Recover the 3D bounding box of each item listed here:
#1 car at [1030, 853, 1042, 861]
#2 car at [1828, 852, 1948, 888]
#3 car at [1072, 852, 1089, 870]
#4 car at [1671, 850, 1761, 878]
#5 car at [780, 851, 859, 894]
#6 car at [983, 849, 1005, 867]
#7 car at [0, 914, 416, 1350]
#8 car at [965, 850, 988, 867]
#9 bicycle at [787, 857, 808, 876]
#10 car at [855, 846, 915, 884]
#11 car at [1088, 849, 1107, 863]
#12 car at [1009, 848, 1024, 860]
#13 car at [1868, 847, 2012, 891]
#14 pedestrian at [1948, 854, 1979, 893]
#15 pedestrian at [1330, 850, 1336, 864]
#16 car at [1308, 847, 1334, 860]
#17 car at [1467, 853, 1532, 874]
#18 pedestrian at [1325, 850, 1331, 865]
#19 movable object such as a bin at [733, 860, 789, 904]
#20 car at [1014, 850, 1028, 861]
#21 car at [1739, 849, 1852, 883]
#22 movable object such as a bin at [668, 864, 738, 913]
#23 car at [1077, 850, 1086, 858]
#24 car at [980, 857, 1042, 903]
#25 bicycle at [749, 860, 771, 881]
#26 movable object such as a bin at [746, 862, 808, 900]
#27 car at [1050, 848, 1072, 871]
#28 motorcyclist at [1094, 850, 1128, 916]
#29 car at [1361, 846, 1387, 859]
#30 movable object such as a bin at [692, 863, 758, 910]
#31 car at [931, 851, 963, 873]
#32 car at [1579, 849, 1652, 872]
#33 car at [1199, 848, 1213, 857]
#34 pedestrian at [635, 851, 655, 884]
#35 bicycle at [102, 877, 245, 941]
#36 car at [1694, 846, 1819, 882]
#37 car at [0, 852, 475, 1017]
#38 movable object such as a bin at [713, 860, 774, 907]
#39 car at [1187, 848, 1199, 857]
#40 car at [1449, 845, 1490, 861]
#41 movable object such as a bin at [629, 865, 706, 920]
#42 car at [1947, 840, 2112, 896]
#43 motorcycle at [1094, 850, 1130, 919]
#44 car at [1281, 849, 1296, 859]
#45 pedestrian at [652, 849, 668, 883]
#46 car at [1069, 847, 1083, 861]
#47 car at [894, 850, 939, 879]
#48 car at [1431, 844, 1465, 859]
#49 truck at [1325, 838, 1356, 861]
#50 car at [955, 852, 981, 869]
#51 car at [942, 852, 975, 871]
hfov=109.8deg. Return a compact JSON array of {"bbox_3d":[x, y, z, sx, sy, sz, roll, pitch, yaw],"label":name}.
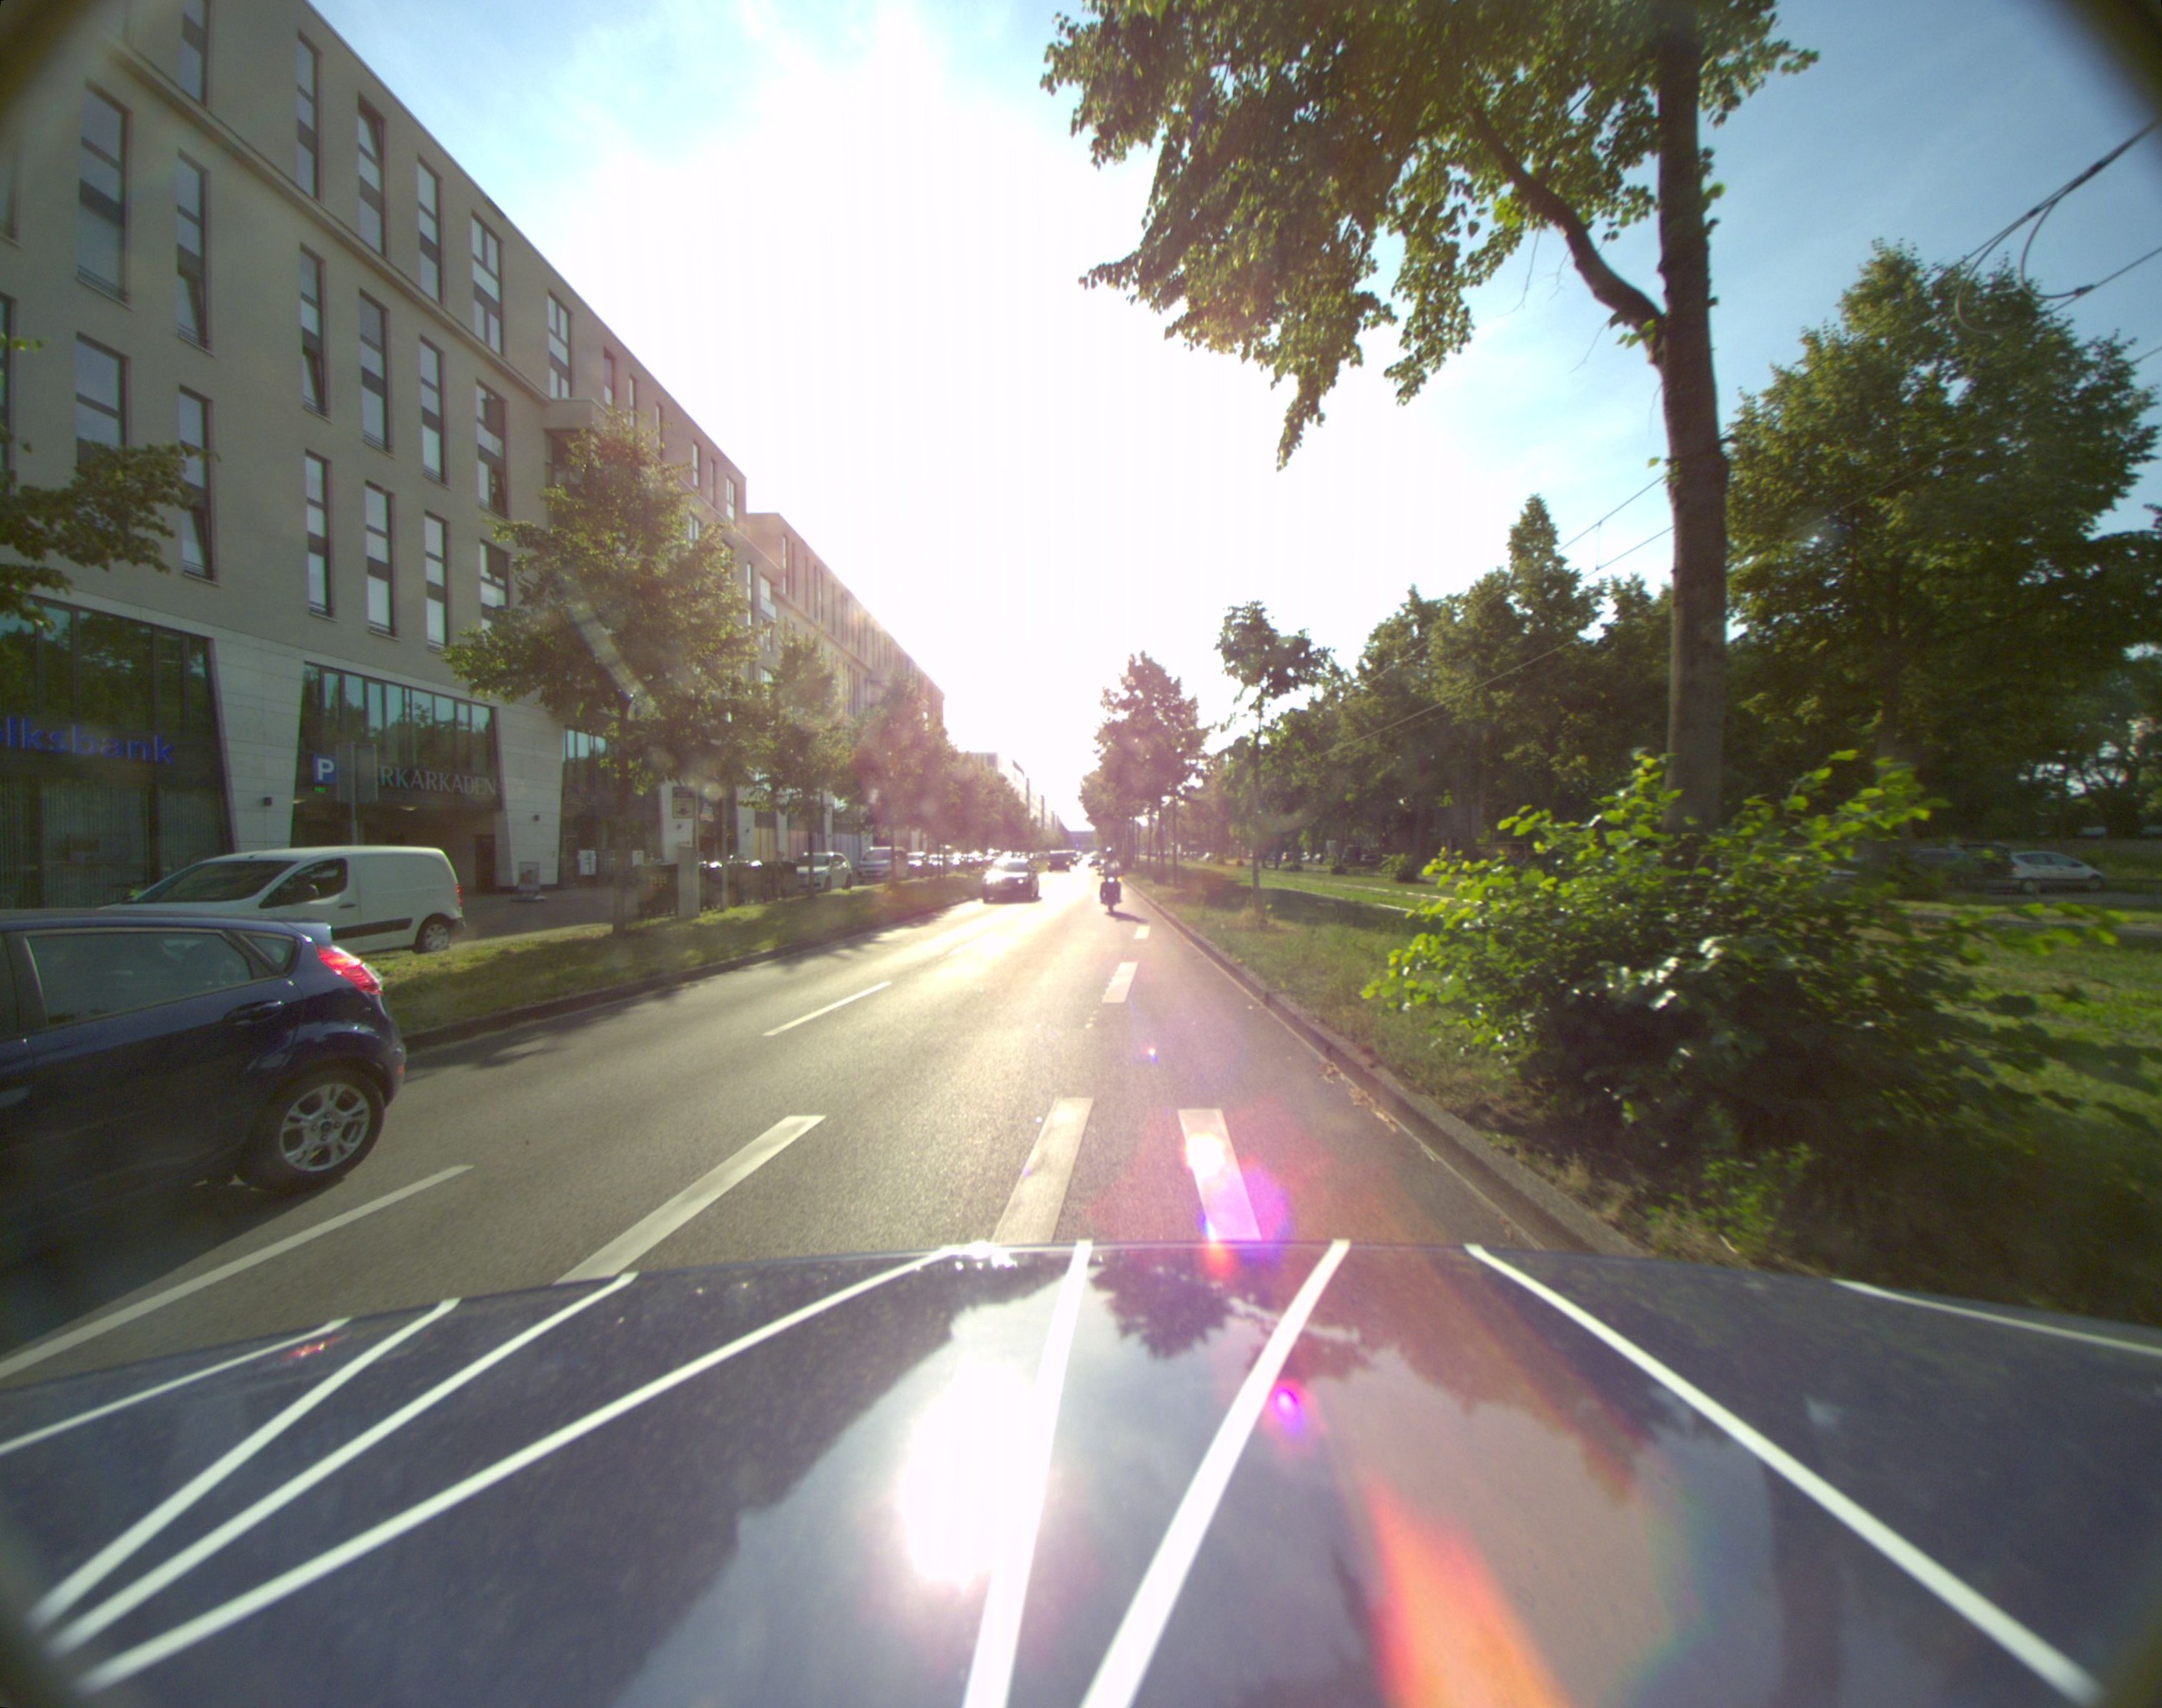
[{"bbox_3d":[-8.850,0.549,149.963,1.840,1.521,4.327,-2,1,1],"label":"car"},{"bbox_3d":[36.826,0.706,34.727,3.576,1.417,1.726,-2,1,2],"label":"car"},{"bbox_3d":[-0.016,0.794,93.371,1.909,2.002,3.999,-2,1,1],"label":"car"},{"bbox_3d":[37.049,0.560,44.412,3.655,1.420,1.809,-2,1,3],"label":"car"},{"bbox_3d":[-10.797,0.706,31.699,1.735,1.620,4.849,0,0,-2],"label":"car"},{"bbox_3d":[-10.026,0.451,88.172,1.899,1.863,4.843,-2,1,0],"label":"car"},{"bbox_3d":[-4.686,1.093,2.346,1.563,1.416,3.908,-2,1,5],"label":"car"},{"bbox_3d":[-10.438,0.413,76.232,1.873,1.483,4.412,-2,1,-4],"label":"car"},{"bbox_3d":[-17.680,0.781,47.434,0.420,1.093,2.108,3,1,1],"label":"bicycle"},{"bbox_3d":[-10.660,0.523,41.719,1.842,1.865,5.031,-2,1,1],"label":"car"},{"bbox_3d":[1.741,0.199,81.651,1.756,1.427,4.034,-2,1,-2],"label":"car"},{"bbox_3d":[-9.439,0.025,111.588,1.764,1.589,4.327,-2,1,1],"label":"car"},{"bbox_3d":[36.095,0.604,32.017,4.002,1.633,1.757,-2,1,2],"label":"car"},{"bbox_3d":[34.122,0.759,29.369,0.523,1.472,0.568,-2,1,0],"label":"pedestrian"},{"bbox_3d":[26.467,0.307,79.846,0.387,1.467,0.602,-2,1,0],"label":"pedestrian"},{"bbox_3d":[28.730,-0.086,90.949,1.835,1.423,4.474,-2,1,2],"label":"car"},{"bbox_3d":[30.775,0.687,56.022,1.689,1.427,4.027,-3,1,-22],"label":"car"},{"bbox_3d":[25.938,0.358,79.870,0.387,1.467,0.602,-2,1,0],"label":"pedestrian"},{"bbox_3d":[-10.380,0.890,24.705,1.281,1.294,1.191,-2,1,-2],"label":"movable object such as a bin"},{"bbox_3d":[-9.584,0.197,122.002,1.840,1.521,4.327,-2,1,1],"label":"car"},{"bbox_3d":[36.902,0.618,39.328,3.996,1.551,1.856,-2,1,3],"label":"car"},{"bbox_3d":[-10.256,0.917,20.686,1.281,1.229,1.191,-2,1,-2],"label":"movable object such as a bin"},{"bbox_3d":[0.079,-0.053,159.861,1.840,1.521,4.327,-2,1,1],"label":"car"},{"bbox_3d":[-2.531,0.906,28.309,1.698,1.416,4.039,-2,1,3],"label":"car"},{"bbox_3d":[-17.674,0.883,41.860,0.345,1.075,1.732,3,1,1],"label":"bicycle"},{"bbox_3d":[-10.498,0.921,26.264,1.399,1.229,1.338,-2,1,28],"label":"movable object such as a bin"},{"bbox_3d":[-1.781,0.479,68.822,1.803,1.881,4.820,-2,1,1],"label":"car"},{"bbox_3d":[0.783,0.763,20.284,0.814,1.700,0.843,-2,1,0],"label":"motorcyclist"},{"bbox_3d":[38.985,-0.244,101.130,1.835,1.603,4.474,-2,1,2],"label":"car"},{"bbox_3d":[-10.255,0.918,21.946,1.281,1.229,1.191,-2,1,-2],"label":"movable object such as a bin"},{"bbox_3d":[-9.637,0.528,54.766,1.620,1.404,4.166,-2,1,-2],"label":"car"},{"bbox_3d":[37.946,0.469,54.032,3.865,1.477,1.744,-2,1,9],"label":"car"},{"bbox_3d":[21.772,-0.251,132.222,1.686,1.467,4.812,2,1,1],"label":"car"},{"bbox_3d":[-20.298,0.616,35.379,0.515,1.513,0.597,-2,1,1],"label":"pedestrian"},{"bbox_3d":[-18.184,1.068,15.300,0.493,1.110,1.945,0,1,1],"label":"bicycle"},{"bbox_3d":[37.053,0.526,41.775,5.071,1.725,1.885,-2,1,3],"label":"car"},{"bbox_3d":[-11.105,0.890,10.542,1.831,1.702,4.295,-2,1,1],"label":"car"},{"bbox_3d":[-10.351,0.892,23.359,1.281,1.310,1.191,-2,1,-2],"label":"movable object such as a bin"},{"bbox_3d":[19.279,-0.221,131.320,1.587,1.385,3.696,-2,1,1],"label":"car"},{"bbox_3d":[36.480,-0.118,71.476,1.790,1.434,4.361,-2,1,3],"label":"car"},{"bbox_3d":[-10.553,0.961,19.439,1.281,1.284,1.178,-2,1,-2],"label":"movable object such as a bin"},{"bbox_3d":[35.961,0.498,28.898,4.002,1.936,1.757,-2,1,2],"label":"car"},{"bbox_3d":[0.790,0.756,20.156,0.798,1.659,2.633,-2,1,0],"label":"motorcycle"},{"bbox_3d":[30.790,-0.029,112.819,1.586,1.269,3.961,-2,1,7],"label":"car"},{"bbox_3d":[-19.688,0.551,35.539,0.515,1.565,0.539,-3,2,-19],"label":"pedestrian"},{"bbox_3d":[-0.745,0.012,121.202,1.998,2.002,3.999,-2,1,1],"label":"car"},{"bbox_3d":[-10.438,0.614,48.410,1.732,1.641,4.339,-2,1,2],"label":"car"},{"bbox_3d":[37.349,-0.240,77.339,1.722,1.434,3.912,-2,1,3],"label":"car"},{"bbox_3d":[41.905,-0.726,122.831,2.895,3.496,7.946,-2,1,6],"label":"truck"},{"bbox_3d":[-10.493,0.606,70.794,1.733,1.424,4.113,-2,1,0],"label":"car"},{"bbox_3d":[-10.213,0.593,63.539,1.732,1.424,4.721,-2,1,2],"label":"car"}]
